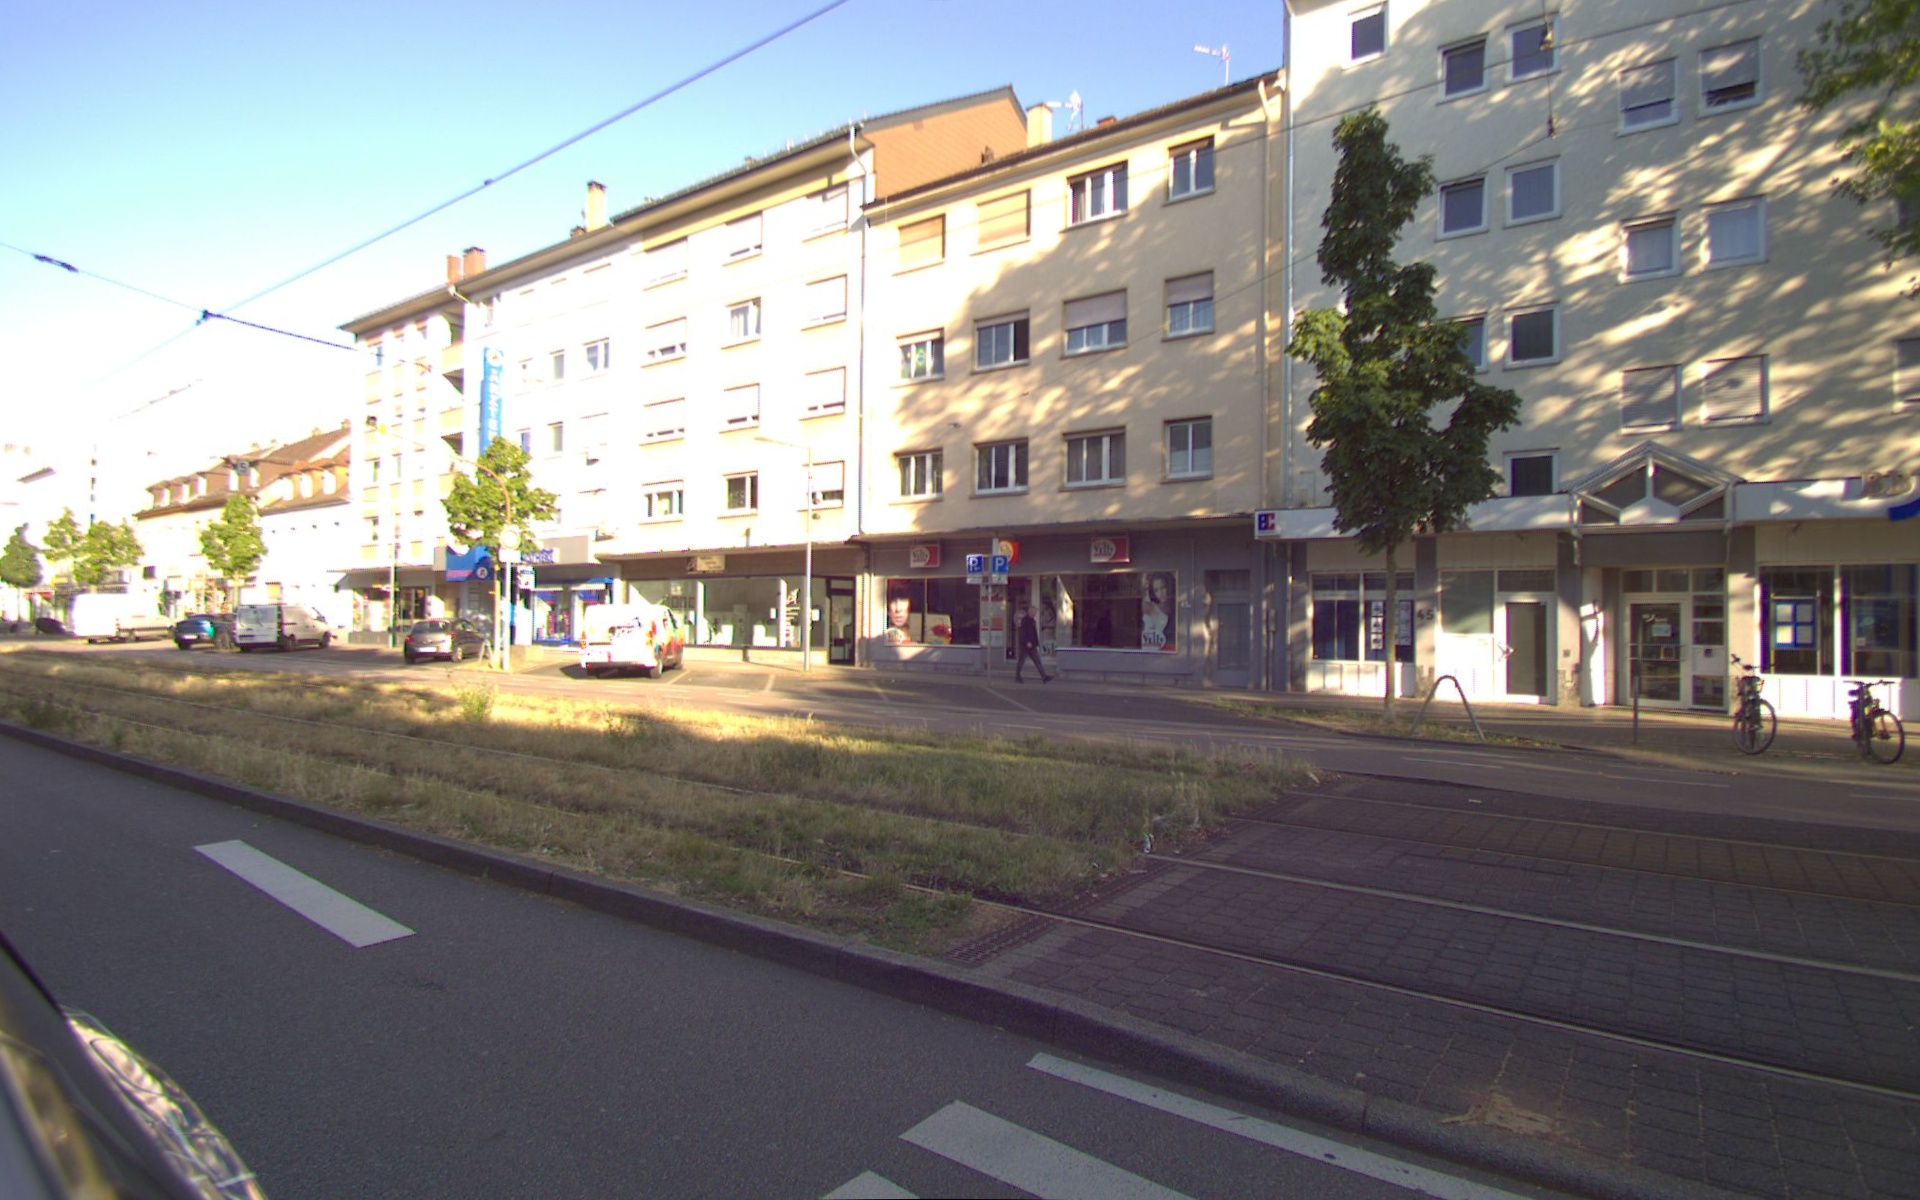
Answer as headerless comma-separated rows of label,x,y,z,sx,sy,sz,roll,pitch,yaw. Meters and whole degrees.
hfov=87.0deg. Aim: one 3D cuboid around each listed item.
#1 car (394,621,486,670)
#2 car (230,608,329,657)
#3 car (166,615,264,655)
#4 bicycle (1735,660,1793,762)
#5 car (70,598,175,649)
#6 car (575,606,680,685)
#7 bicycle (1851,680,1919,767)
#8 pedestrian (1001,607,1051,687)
car,-17.545,1.500,34.342,1.708,1.508,4.009,0,0,-10
car,-28.643,1.308,42.766,1.828,1.952,4.514,0,0,-10
car,-34.172,1.561,46.540,1.830,1.727,3.919,0,0,-4
bicycle,10.297,1.385,12.990,0.511,1.147,1.724,-1,-1,36
car,-45.326,1.219,54.987,1.895,2.634,6.608,0,0,-16
car,-8.812,1.151,27.144,1.830,1.913,4.005,0,0,-6
bicycle,11.426,1.488,12.498,0.471,0.895,1.724,-1,-1,36
pedestrian,1.555,1.089,23.983,0.916,1.841,0.747,-1,-1,41
